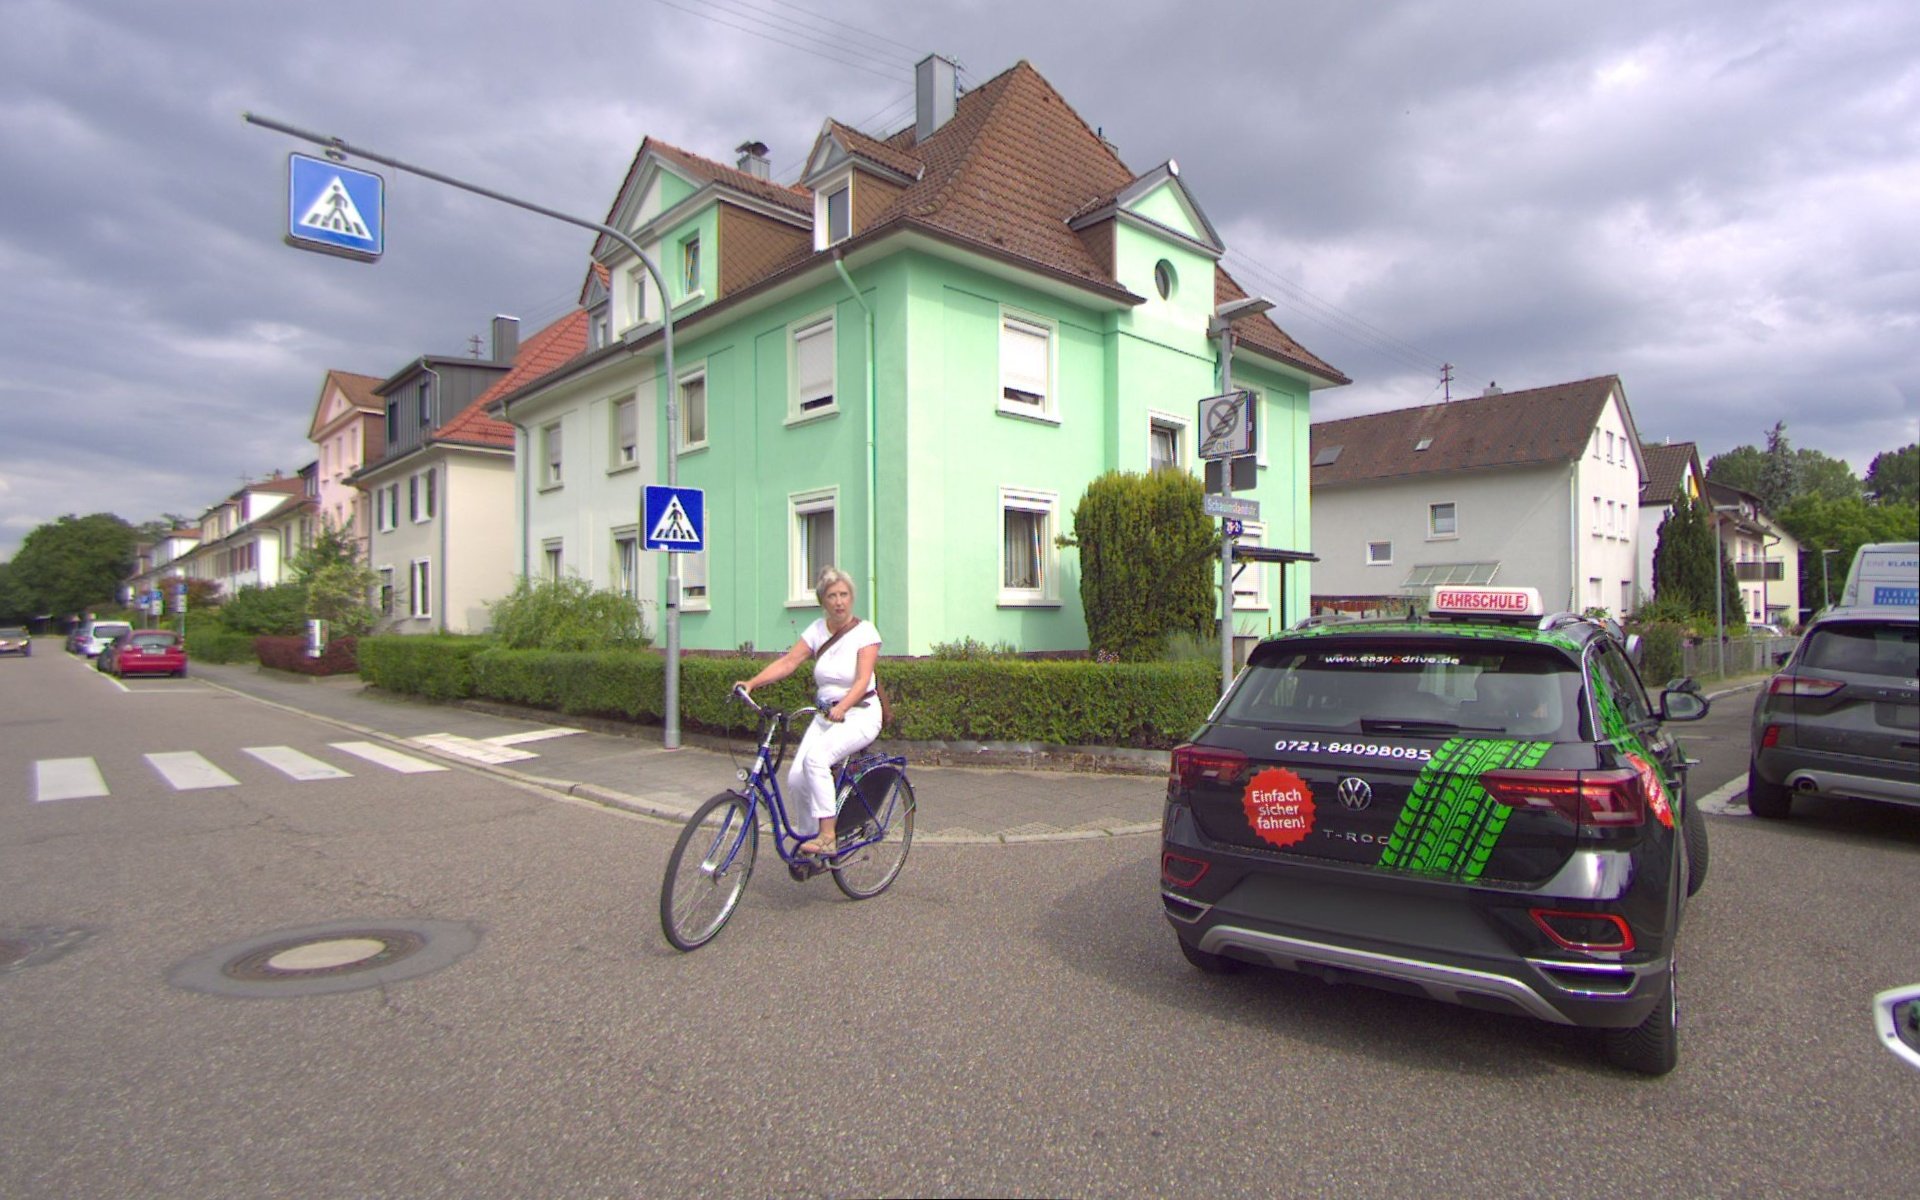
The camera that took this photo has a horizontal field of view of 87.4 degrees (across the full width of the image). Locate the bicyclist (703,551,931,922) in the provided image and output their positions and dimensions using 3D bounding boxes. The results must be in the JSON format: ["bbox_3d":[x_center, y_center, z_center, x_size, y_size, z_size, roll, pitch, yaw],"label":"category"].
[{"bbox_3d":[-0.714,0.621,5.164,0.687,1.688,0.972,0,0,35],"label":"bicyclist"}]

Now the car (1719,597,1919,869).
[{"bbox_3d":[7.640,0.881,8.057,1.973,1.749,4.315,-1,-2,44],"label":"car"}]

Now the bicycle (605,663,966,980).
[{"bbox_3d":[-0.778,0.965,5.066,0.695,1.167,1.867,0,0,34],"label":"bicycle"}]

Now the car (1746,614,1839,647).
[{"bbox_3d":[46.966,1.715,56.697,3.945,1.795,1.859,-2,-3,44],"label":"car"}]

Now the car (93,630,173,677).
[{"bbox_3d":[-29.994,1.882,36.395,1.986,1.595,3.949,1,-2,-43],"label":"car"}]

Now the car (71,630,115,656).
[{"bbox_3d":[-55.804,2.732,64.655,1.986,1.595,3.949,1,-2,-43],"label":"car"}]

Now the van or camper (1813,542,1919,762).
[{"bbox_3d":[12.789,0.609,13.018,5.020,2.491,2.170,1,-2,-44],"label":"van or camper"}]

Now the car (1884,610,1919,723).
[{"bbox_3d":[17.066,1.062,17.025,1.973,1.795,4.315,-1,-2,44],"label":"car"}]

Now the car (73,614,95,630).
[{"bbox_3d":[-115.221,2.854,132.092,1.986,2.040,3.950,3,-3,-43],"label":"car"}]

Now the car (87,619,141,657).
[{"bbox_3d":[-45.000,2.016,53.410,1.986,1.929,3.949,1,-2,-43],"label":"car"}]

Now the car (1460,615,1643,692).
[{"bbox_3d":[14.085,1.243,24.017,3.533,1.689,1.578,-2,-2,43],"label":"car"}]

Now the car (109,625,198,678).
[{"bbox_3d":[-26.329,1.619,32.765,1.986,1.595,3.949,1,-2,-43],"label":"car"}]

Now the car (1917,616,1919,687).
[{"bbox_3d":[26.292,1.294,26.149,1.973,1.772,4.315,-1,-2,44],"label":"car"}]

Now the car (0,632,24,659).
[{"bbox_3d":[-55.191,2.606,57.785,1.824,1.505,3.948,3,-3,-44],"label":"car"}]

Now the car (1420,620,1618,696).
[{"bbox_3d":[12.226,1.226,22.069,3.533,1.520,1.578,-2,-2,43],"label":"car"}]

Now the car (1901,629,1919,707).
[{"bbox_3d":[20.643,1.342,20.555,1.973,1.475,4.315,-1,-2,44],"label":"car"}]

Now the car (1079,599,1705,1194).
[{"bbox_3d":[2.379,0.830,4.767,1.793,1.540,4.027,0,-2,38],"label":"car"}]

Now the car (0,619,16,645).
[{"bbox_3d":[-75.520,2.526,78.868,1.986,2.040,3.950,1,-2,-43],"label":"car"}]
